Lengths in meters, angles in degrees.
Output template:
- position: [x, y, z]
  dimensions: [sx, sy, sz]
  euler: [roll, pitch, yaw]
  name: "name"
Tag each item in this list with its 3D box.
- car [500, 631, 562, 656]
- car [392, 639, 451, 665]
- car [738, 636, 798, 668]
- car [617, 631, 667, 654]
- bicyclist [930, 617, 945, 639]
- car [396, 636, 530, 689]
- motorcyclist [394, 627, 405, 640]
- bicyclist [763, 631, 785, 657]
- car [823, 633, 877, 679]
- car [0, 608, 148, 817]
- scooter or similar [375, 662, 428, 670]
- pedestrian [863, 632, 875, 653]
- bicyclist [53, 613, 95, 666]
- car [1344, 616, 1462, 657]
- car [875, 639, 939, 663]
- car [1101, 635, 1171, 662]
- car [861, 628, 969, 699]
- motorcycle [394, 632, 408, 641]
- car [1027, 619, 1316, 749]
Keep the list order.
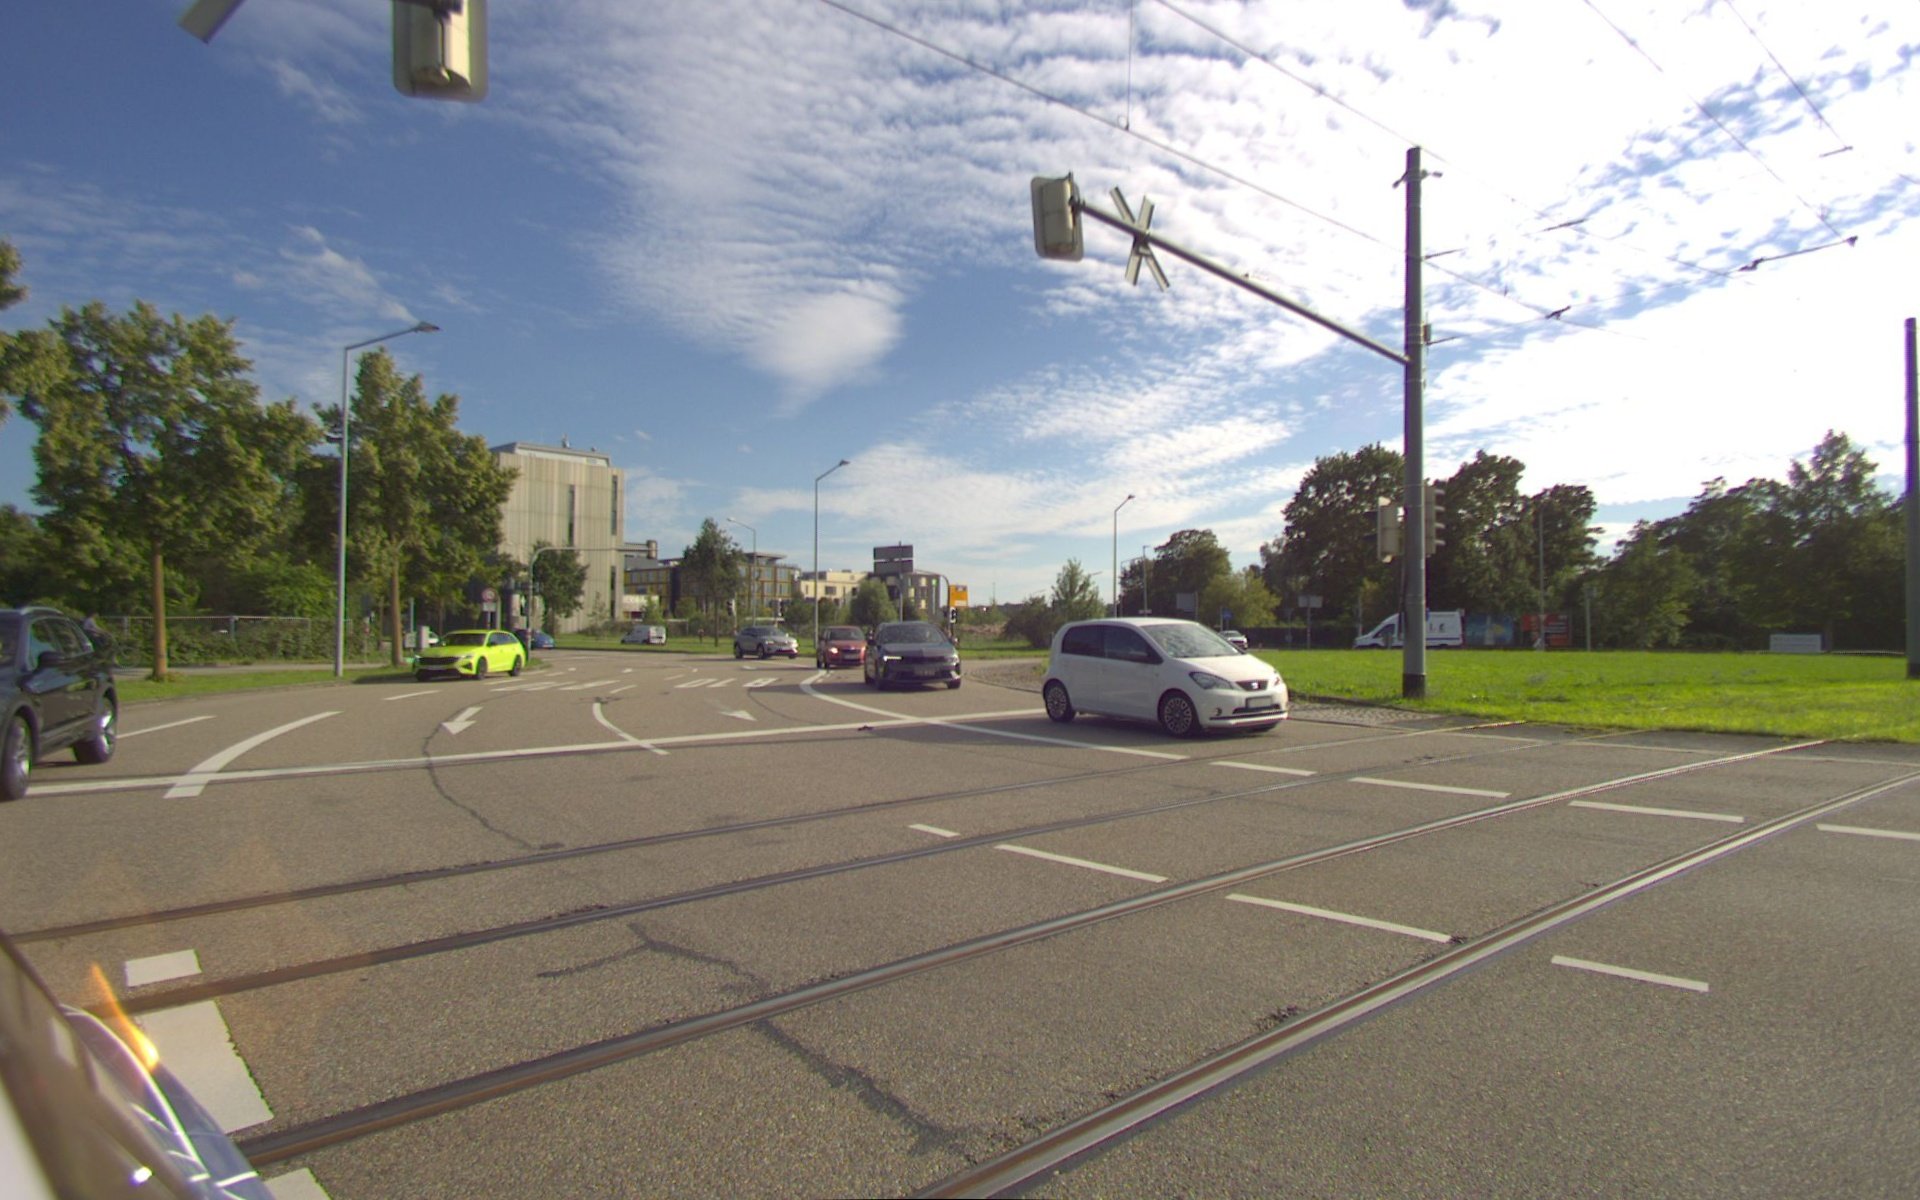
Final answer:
- position: [-30.090, 3.040, 70.931]
  dimensions: [4.799, 1.674, 1.973]
  euler: [-1, -2, 40]
  name: "car"
- position: [-36.356, 3.482, 68.285]
  dimensions: [4.801, 1.674, 1.972]
  euler: [-1, -2, 42]
  name: "car"
- position: [-9.418, 2.521, 49.370]
  dimensions: [1.665, 1.486, 4.240]
  euler: [1, -3, -28]
  name: "car"
- position: [-26.448, 3.500, 84.003]
  dimensions: [4.556, 1.839, 1.663]
  euler: [-2, -5, 39]
  name: "car"
- position: [-1.538, 1.928, 69.319]
  dimensions: [0.687, 1.456, 0.612]
  euler: [4, -4, -38]
  name: "bicyclist"
- position: [-14.652, 1.831, 30.146]
  dimensions: [1.869, 1.431, 4.609]
  euler: [-1, -3, -2]
  name: "car"
- position: [-60.202, 3.599, 108.762]
  dimensions: [0.943, 1.376, 0.773]
  euler: [-2, -3, 42]
  name: "motorcyclist"
- position: [-10.959, 2.590, 59.654]
  dimensions: [0.853, 1.568, 0.998]
  euler: [2, -3, -43]
  name: "bicyclist"
- position: [-3.897, 1.907, 35.467]
  dimensions: [1.668, 1.486, 4.234]
  euler: [0, -2, -9]
  name: "car"
- position: [-9.457, 0.940, 9.475]
  dimensions: [1.840, 1.708, 5.031]
  euler: [1, -2, -27]
  name: "car"
- position: [-23.897, 2.825, 43.360]
  dimensions: [1.282, 0.283, 1.544]
  euler: [0, -2, 17]
  name: "scooter or similar"
- position: [-7.185, 3.328, 80.041]
  dimensions: [0.658, 1.642, 0.619]
  euler: [-2, -2, 44]
  name: "pedestrian"
- position: [-26.793, 1.184, 30.615]
  dimensions: [0.891, 1.559, 0.805]
  euler: [2, -3, -41]
  name: "bicyclist"
- position: [25.850, 2.153, 59.294]
  dimensions: [5.964, 2.281, 2.057]
  euler: [0, -4, 14]
  name: "car"
- position: [-3.513, 3.358, 66.856]
  dimensions: [3.980, 1.513, 1.668]
  euler: [-1, -4, 31]
  name: "car"
- position: [10.666, 2.961, 61.388]
  dimensions: [3.940, 1.513, 1.685]
  euler: [1, -4, 2]
  name: "car"
- position: [-1.121, 1.376, 22.647]
  dimensions: [1.795, 1.431, 4.456]
  euler: [0, -3, -11]
  name: "car"
- position: [-60.052, 3.928, 108.709]
  dimensions: [2.024, 0.994, 0.773]
  euler: [-1, -2, 43]
  name: "motorcycle"
- position: [2.670, 1.033, 13.536]
  dimensions: [1.737, 1.475, 3.670]
  euler: [1, -3, -31]
  name: "car"
